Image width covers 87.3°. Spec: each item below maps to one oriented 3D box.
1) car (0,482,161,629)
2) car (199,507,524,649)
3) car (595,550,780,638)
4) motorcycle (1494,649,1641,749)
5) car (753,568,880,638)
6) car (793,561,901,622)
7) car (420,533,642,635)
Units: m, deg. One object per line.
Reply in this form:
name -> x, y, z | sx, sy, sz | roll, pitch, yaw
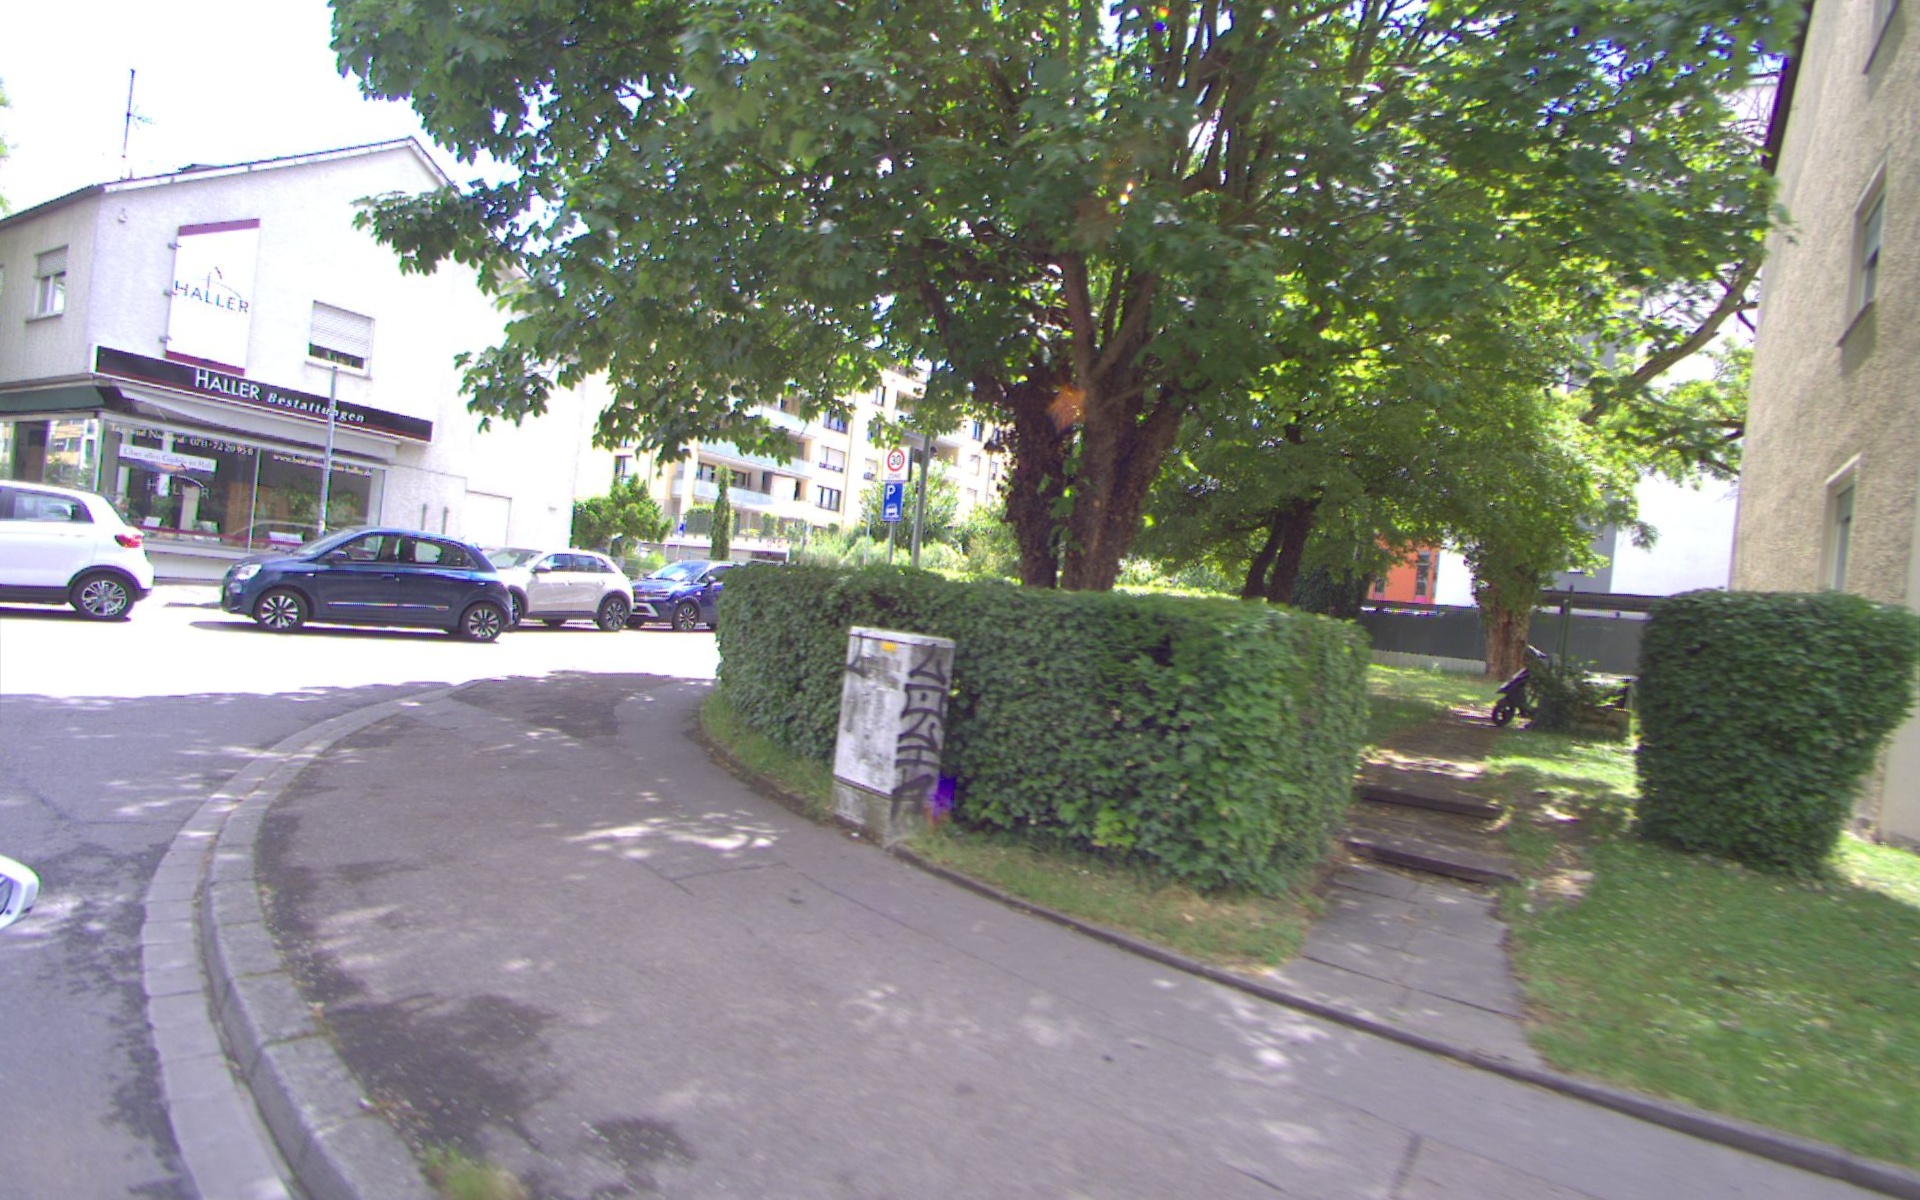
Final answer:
car -> -11.922, -0.657, 11.865 | 1.973, 1.604, 3.590 | 7, 1, 43
car -> -8.605, -0.285, 14.586 | 3.682, 1.542, 1.976 | 6, 2, -42
car -> -5.945, -0.073, 22.407 | 1.680, 1.567, 3.886 | 8, 2, 27
motorcycle -> 8.725, 1.394, 14.522 | 1.642, 1.148, 0.711 | 9, 3, 31
car -> -3.768, 0.118, 26.916 | 1.519, 1.567, 3.450 | 8, 2, 27
car -> -4.758, -0.358, 42.352 | 3.932, 1.973, 1.995 | 8, 2, 31
car -> -7.862, -0.236, 18.746 | 1.679, 1.543, 3.464 | 8, 2, 24
